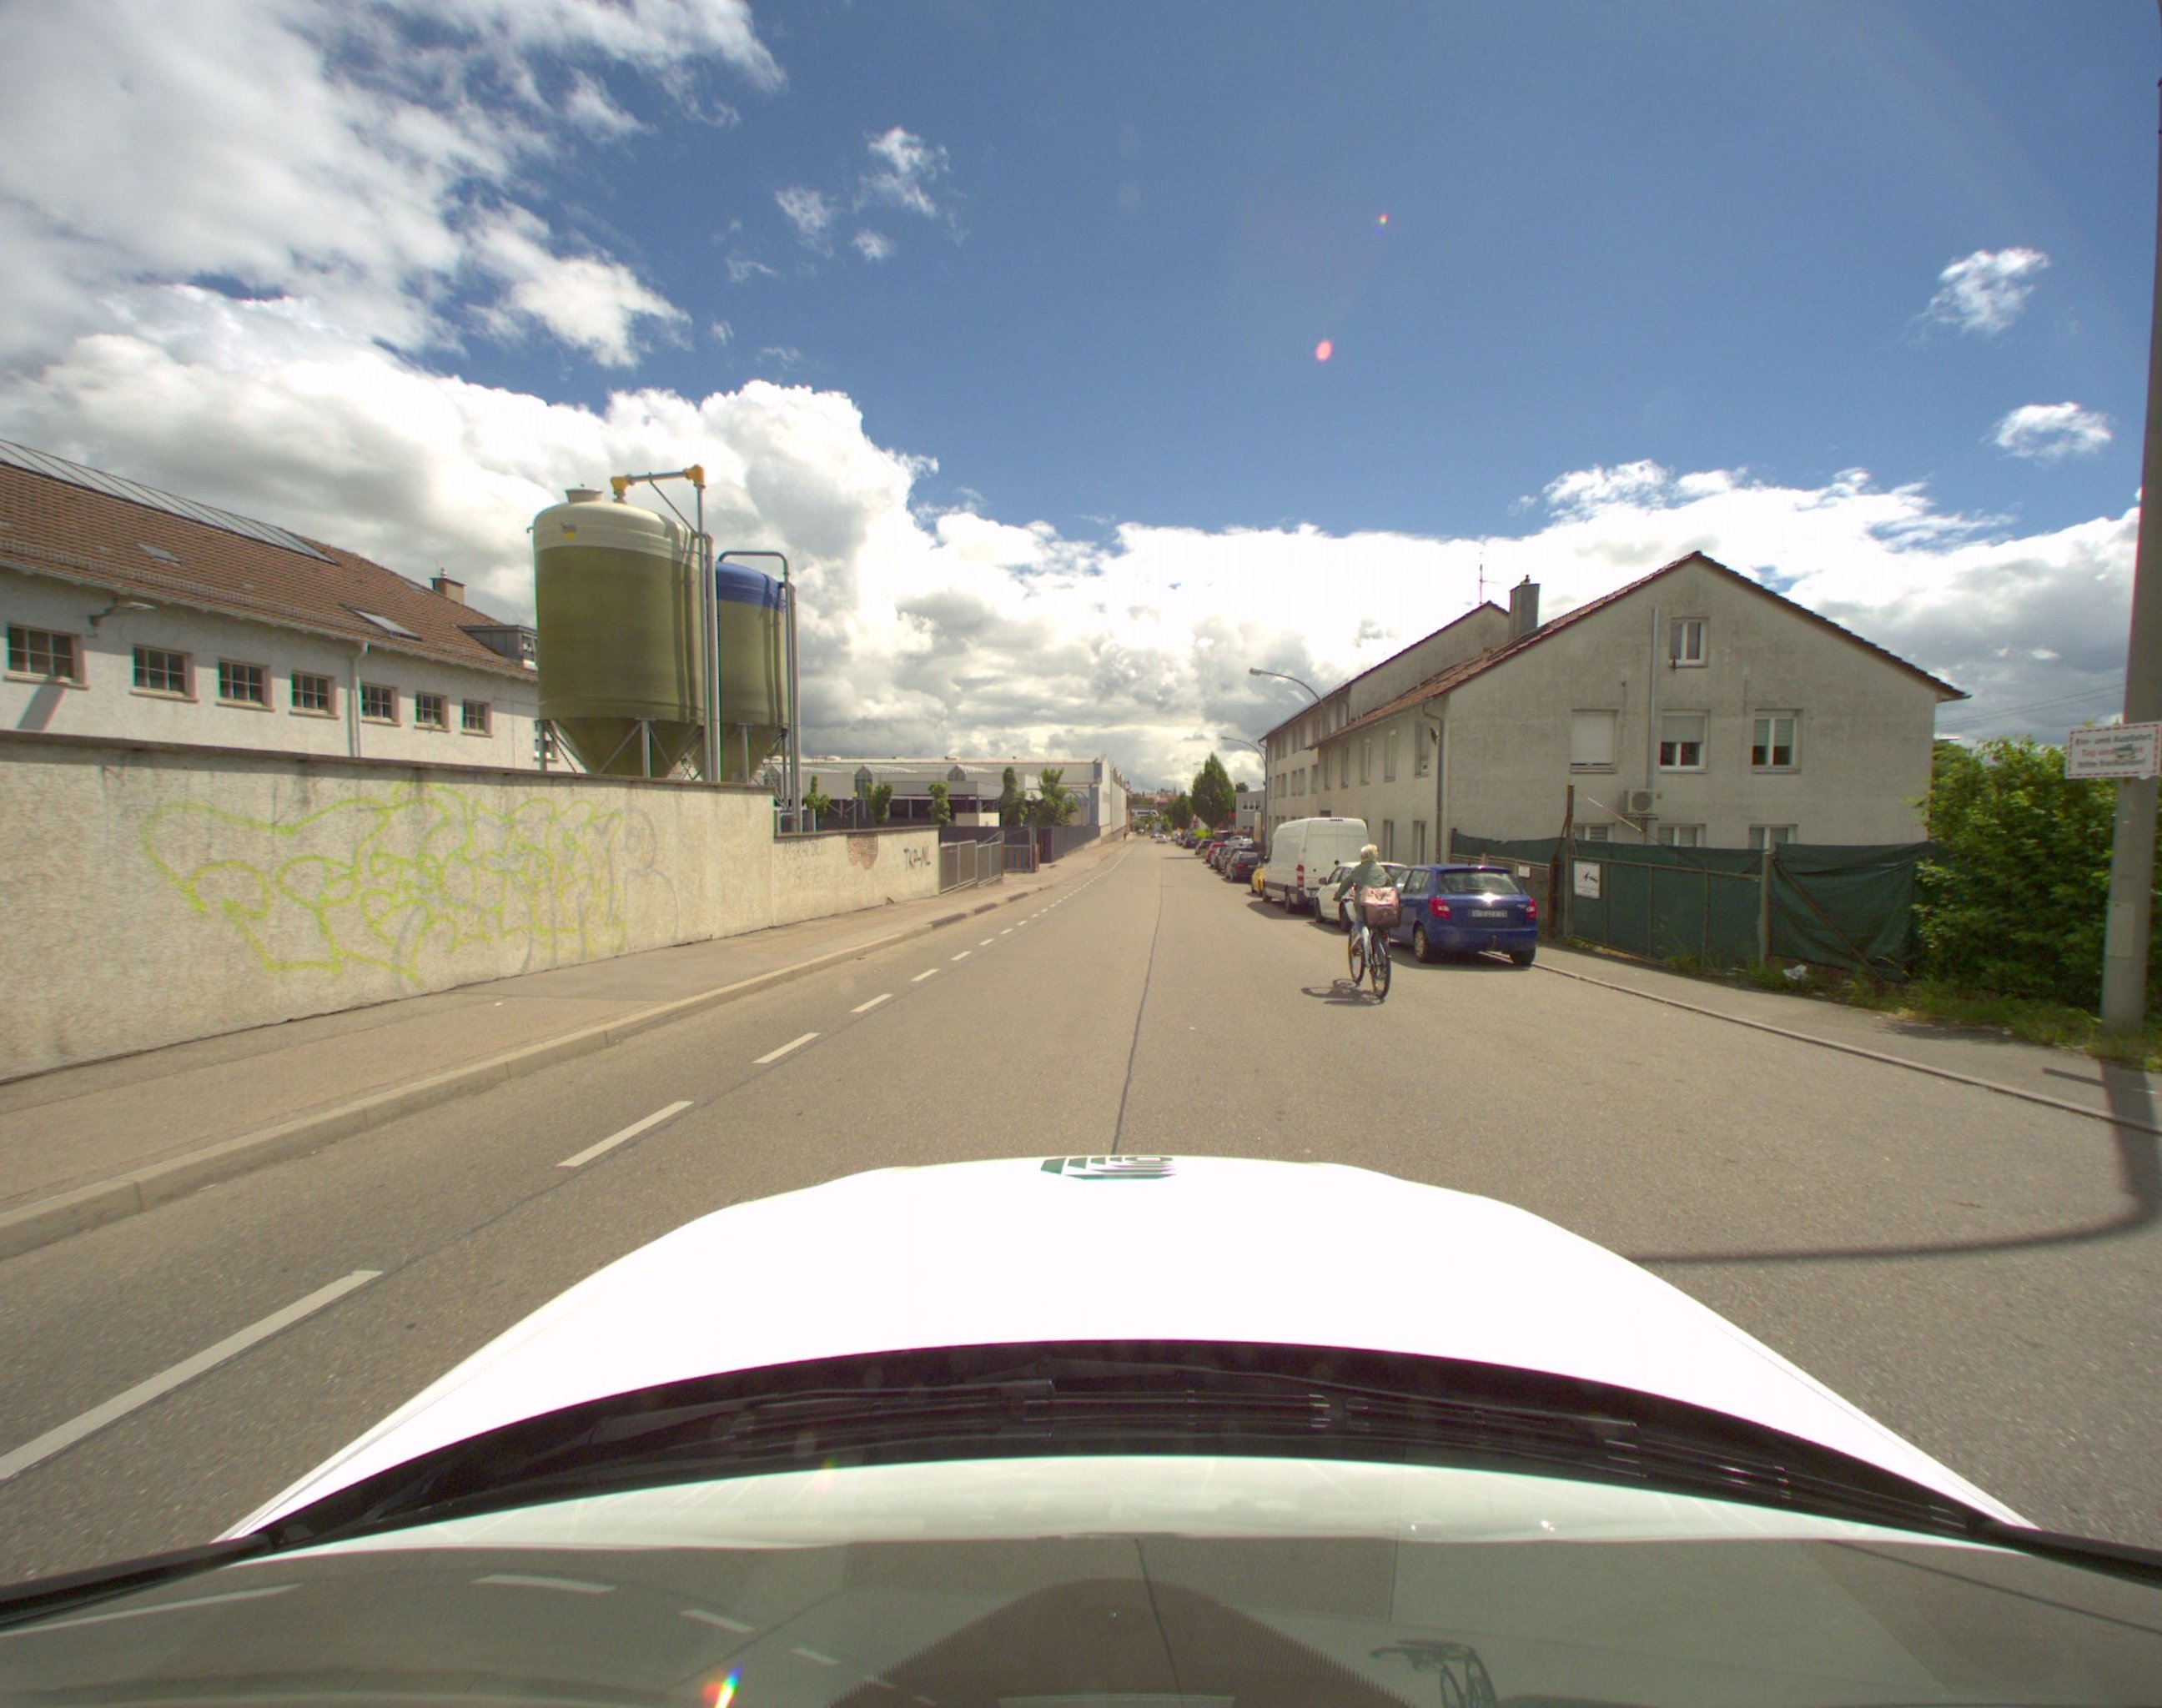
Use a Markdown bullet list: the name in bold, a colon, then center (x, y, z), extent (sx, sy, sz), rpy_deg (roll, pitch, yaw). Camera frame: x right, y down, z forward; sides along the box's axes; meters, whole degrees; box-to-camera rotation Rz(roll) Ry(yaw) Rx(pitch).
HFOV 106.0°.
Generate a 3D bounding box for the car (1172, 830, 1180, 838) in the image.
- **car**: center (19.898, -4.120, 170.722), extent (1.692, 1.527, 3.745), rpy_deg (-4, 1, 7)

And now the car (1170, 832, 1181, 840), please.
- **car**: center (18.590, -3.529, 160.302), extent (1.695, 1.527, 3.740), rpy_deg (3, 2, 1)

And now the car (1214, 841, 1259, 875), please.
- **car**: center (8.819, 0.181, 46.526), extent (1.670, 1.637, 4.799), rpy_deg (2, 2, 1)

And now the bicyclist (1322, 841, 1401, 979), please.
- **bicyclist**: center (3.411, 0.659, 9.947), extent (0.736, 1.626, 0.732), rpy_deg (0, -1, 2)

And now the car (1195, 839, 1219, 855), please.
- **car**: center (11.527, -0.675, 74.588), extent (1.783, 1.465, 4.713), rpy_deg (0, 1, 4)

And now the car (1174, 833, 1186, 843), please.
- **car**: center (15.784, -2.521, 129.562), extent (1.706, 1.473, 4.518), rpy_deg (0, 1, 5)

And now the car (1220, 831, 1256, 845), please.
- **car**: center (18.198, -1.827, 94.520), extent (1.732, 1.462, 4.032), rpy_deg (-4, 2, -33)

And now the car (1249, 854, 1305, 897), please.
- **car**: center (7.355, 0.777, 30.875), extent (1.585, 1.447, 3.797), rpy_deg (0, 1, 6)

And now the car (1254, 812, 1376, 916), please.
- **car**: center (6.787, 0.272, 24.559), extent (2.024, 2.641, 7.290), rpy_deg (0, 0, 4)

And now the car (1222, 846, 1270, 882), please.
- **car**: center (8.221, 0.451, 40.923), extent (1.697, 1.509, 5.094), rpy_deg (2, 2, 4)

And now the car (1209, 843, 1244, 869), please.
- **car**: center (9.252, 0.114, 52.103), extent (1.727, 1.423, 4.867), rpy_deg (1, 2, 4)

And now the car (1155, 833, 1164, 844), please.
- **car**: center (13.277, -2.635, 137.657), extent (1.559, 1.786, 3.610), rpy_deg (0, 0, 5)

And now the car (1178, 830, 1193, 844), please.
- **car**: center (14.878, -2.404, 116.095), extent (1.860, 1.990, 5.151), rpy_deg (0, 1, 5)

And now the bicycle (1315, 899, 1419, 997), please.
- **bicycle**: center (3.408, 1.089, 9.868), extent (0.737, 0.975, 1.734), rpy_deg (0, 0, 3)

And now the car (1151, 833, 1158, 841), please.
- **car**: center (17.570, -4.083, 195.171), extent (1.711, 1.555, 4.293), rpy_deg (-3, 0, 4)

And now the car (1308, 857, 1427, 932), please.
- **car**: center (6.356, 0.837, 18.470), extent (1.586, 1.510, 3.794), rpy_deg (0, 0, 4)

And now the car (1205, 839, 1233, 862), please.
- **car**: center (9.927, -0.269, 58.785), extent (1.726, 1.472, 4.269), rpy_deg (1, 2, 5)

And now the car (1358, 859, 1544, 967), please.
- **car**: center (5.937, 0.845, 13.596), extent (1.559, 1.510, 4.099), rpy_deg (0, 0, 5)

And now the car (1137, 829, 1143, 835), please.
- **car**: center (16.498, -6.195, 227.702), extent (1.844, 1.486, 4.005), rpy_deg (0, 0, 4)

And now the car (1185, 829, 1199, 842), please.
- **car**: center (13.778, -2.270, 101.213), extent (1.670, 1.638, 4.131), rpy_deg (0, 1, 7)
